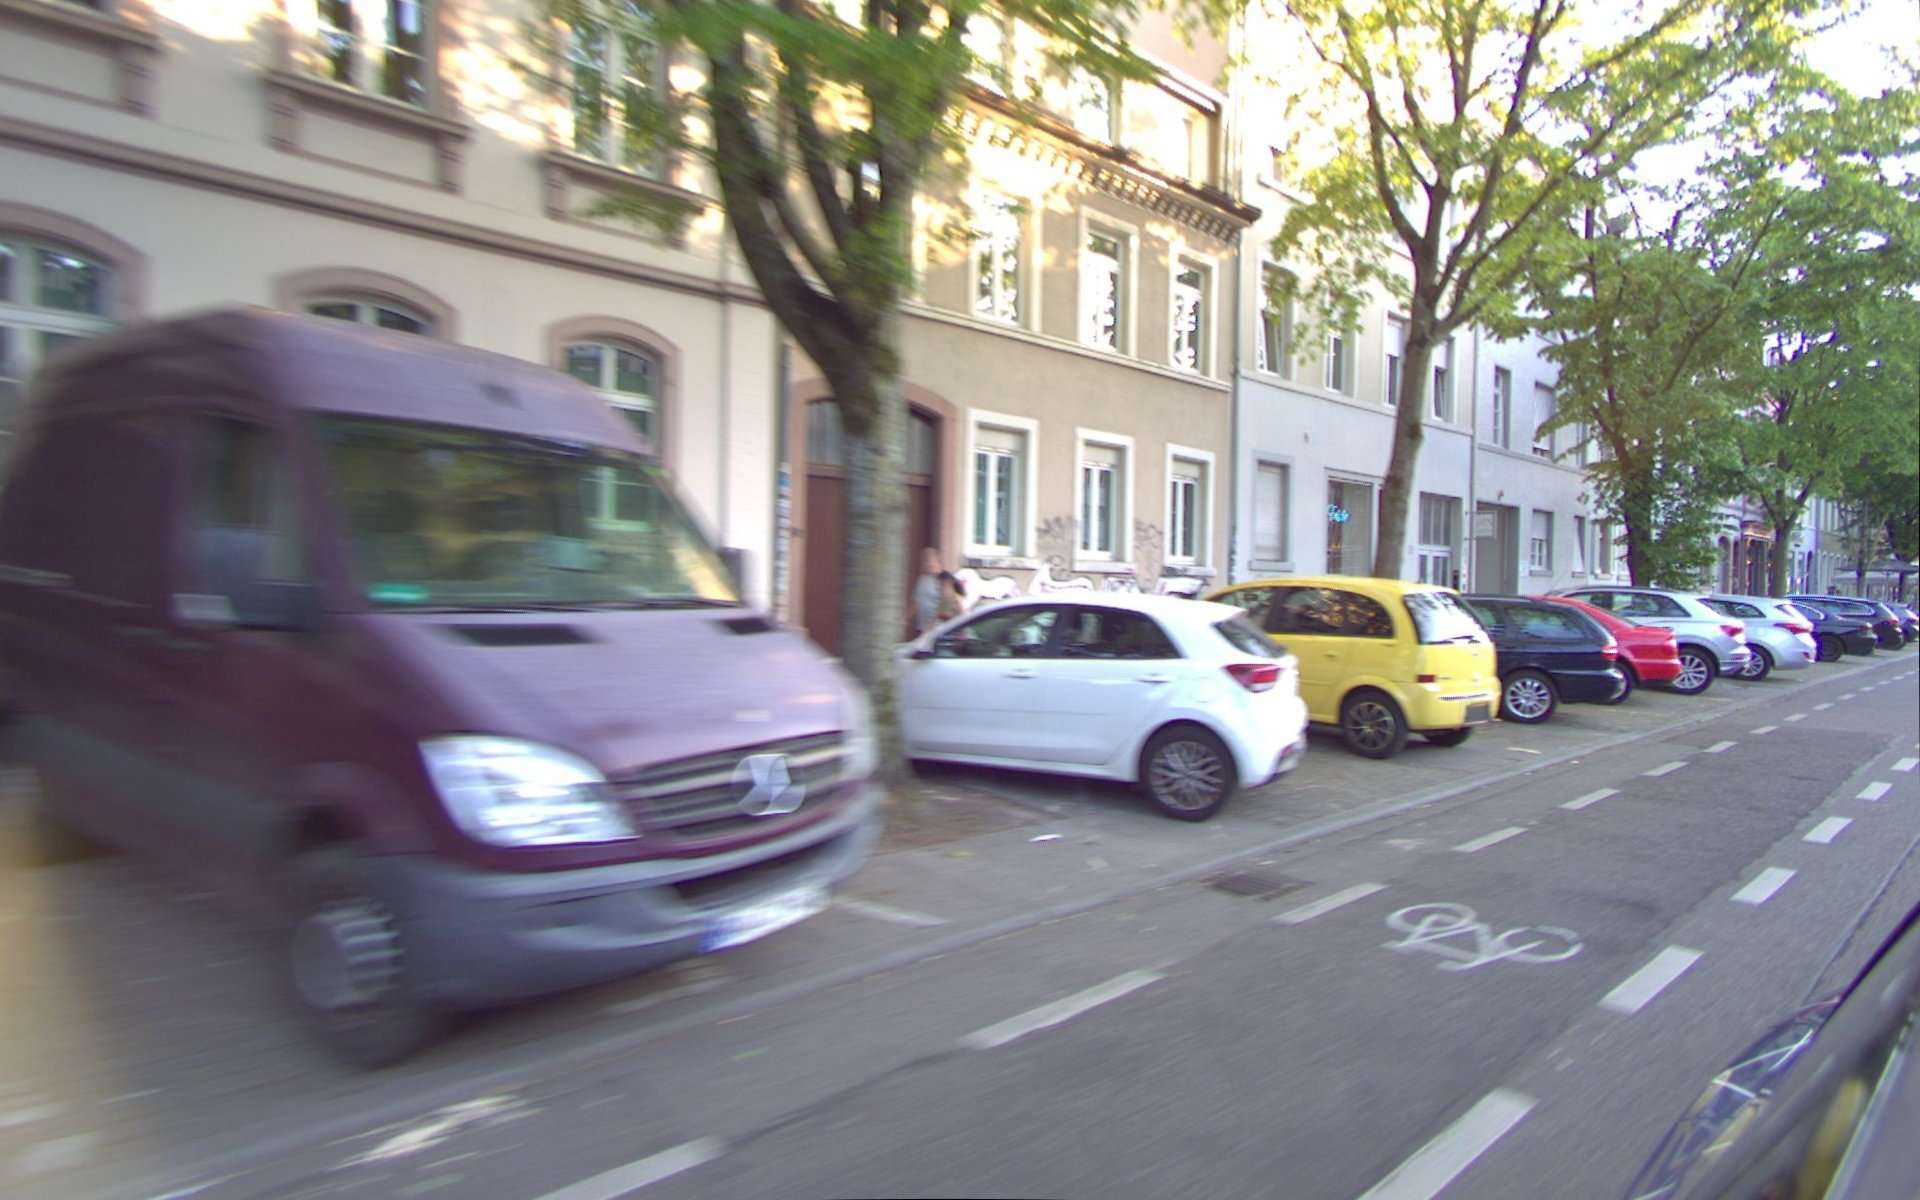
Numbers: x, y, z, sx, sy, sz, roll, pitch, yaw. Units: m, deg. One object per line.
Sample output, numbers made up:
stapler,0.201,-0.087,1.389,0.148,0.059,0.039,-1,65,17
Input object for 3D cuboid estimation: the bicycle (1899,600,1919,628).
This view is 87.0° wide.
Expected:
bicycle,37.269,0.598,38.697,0.598,1.044,1.890,0,4,-42

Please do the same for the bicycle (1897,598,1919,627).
bicycle,36.315,0.503,37.757,0.581,1.044,1.866,0,4,-42

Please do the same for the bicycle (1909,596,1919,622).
bicycle,39.844,0.413,41.021,0.598,1.044,1.890,0,4,-42

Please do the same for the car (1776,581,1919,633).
car,30.043,0.223,33.737,4.145,1.444,1.803,5,3,32

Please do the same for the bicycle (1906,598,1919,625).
bicycle,39.262,0.533,40.527,0.598,1.044,1.890,0,4,-42

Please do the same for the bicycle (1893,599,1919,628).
bicycle,35.839,0.540,37.389,0.524,1.044,1.907,0,4,-42

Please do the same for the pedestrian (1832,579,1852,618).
pedestrian,40.921,-0.089,46.972,0.548,1.785,0.843,0,0,32

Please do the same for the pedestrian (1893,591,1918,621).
pedestrian,43.050,0.268,46.078,0.546,1.322,0.710,2,2,22

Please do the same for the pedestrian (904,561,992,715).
pedestrian,-0.134,0.388,10.865,0.796,1.588,0.541,1,1,-20

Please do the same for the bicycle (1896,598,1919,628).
bicycle,36.757,0.548,38.252,0.663,1.080,1.890,0,4,-42

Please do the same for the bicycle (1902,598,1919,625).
bicycle,38.239,0.502,39.618,0.598,1.044,1.890,0,4,-42

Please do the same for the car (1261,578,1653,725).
car,6.068,0.529,12.794,4.091,1.442,1.905,3,3,25

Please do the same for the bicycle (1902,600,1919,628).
bicycle,37.783,0.613,39.127,0.598,1.044,1.890,0,4,-42

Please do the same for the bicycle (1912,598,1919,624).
bicycle,40.377,0.513,41.503,0.598,1.044,1.819,0,4,-42

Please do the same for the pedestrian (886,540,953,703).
pedestrian,-0.469,0.231,11.762,0.599,1.837,0.564,1,1,19

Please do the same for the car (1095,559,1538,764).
car,3.541,0.451,10.641,1.887,1.639,3.960,-1,3,-40

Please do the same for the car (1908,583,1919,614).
car,51.139,0.040,51.381,3.933,1.572,1.692,3,2,25

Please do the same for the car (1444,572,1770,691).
car,10.324,0.412,16.594,4.224,1.579,1.880,3,3,27

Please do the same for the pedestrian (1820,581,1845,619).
pedestrian,41.832,-0.002,48.522,0.696,1.785,0.710,0,0,22

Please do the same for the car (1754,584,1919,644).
car,26.650,0.387,30.431,4.100,1.488,1.803,5,3,32

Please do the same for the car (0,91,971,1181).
car,-2.641,-0.043,4.723,5.076,2.675,1.998,3,3,33

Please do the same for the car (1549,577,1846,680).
car,13.626,0.429,18.896,4.245,1.568,1.991,4,3,39

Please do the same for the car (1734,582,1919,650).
car,23.372,0.404,26.836,4.088,1.488,1.998,4,3,26

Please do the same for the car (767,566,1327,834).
car,0.666,0.554,7.870,3.924,1.504,1.904,3,3,26

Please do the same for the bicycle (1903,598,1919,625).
bicycle,38.703,0.517,40.086,0.598,1.044,1.890,0,4,-42

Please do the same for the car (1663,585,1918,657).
car,19.585,0.449,24.138,4.216,1.409,2.001,3,2,23

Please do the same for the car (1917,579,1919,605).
car,71.673,-0.442,71.827,4.943,1.849,2.183,4,3,32

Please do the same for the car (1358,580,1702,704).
car,8.094,0.509,14.829,4.091,1.442,1.882,3,3,25

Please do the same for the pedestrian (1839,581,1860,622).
pedestrian,38.711,0.070,44.040,0.878,1.785,0.551,0,0,-41
